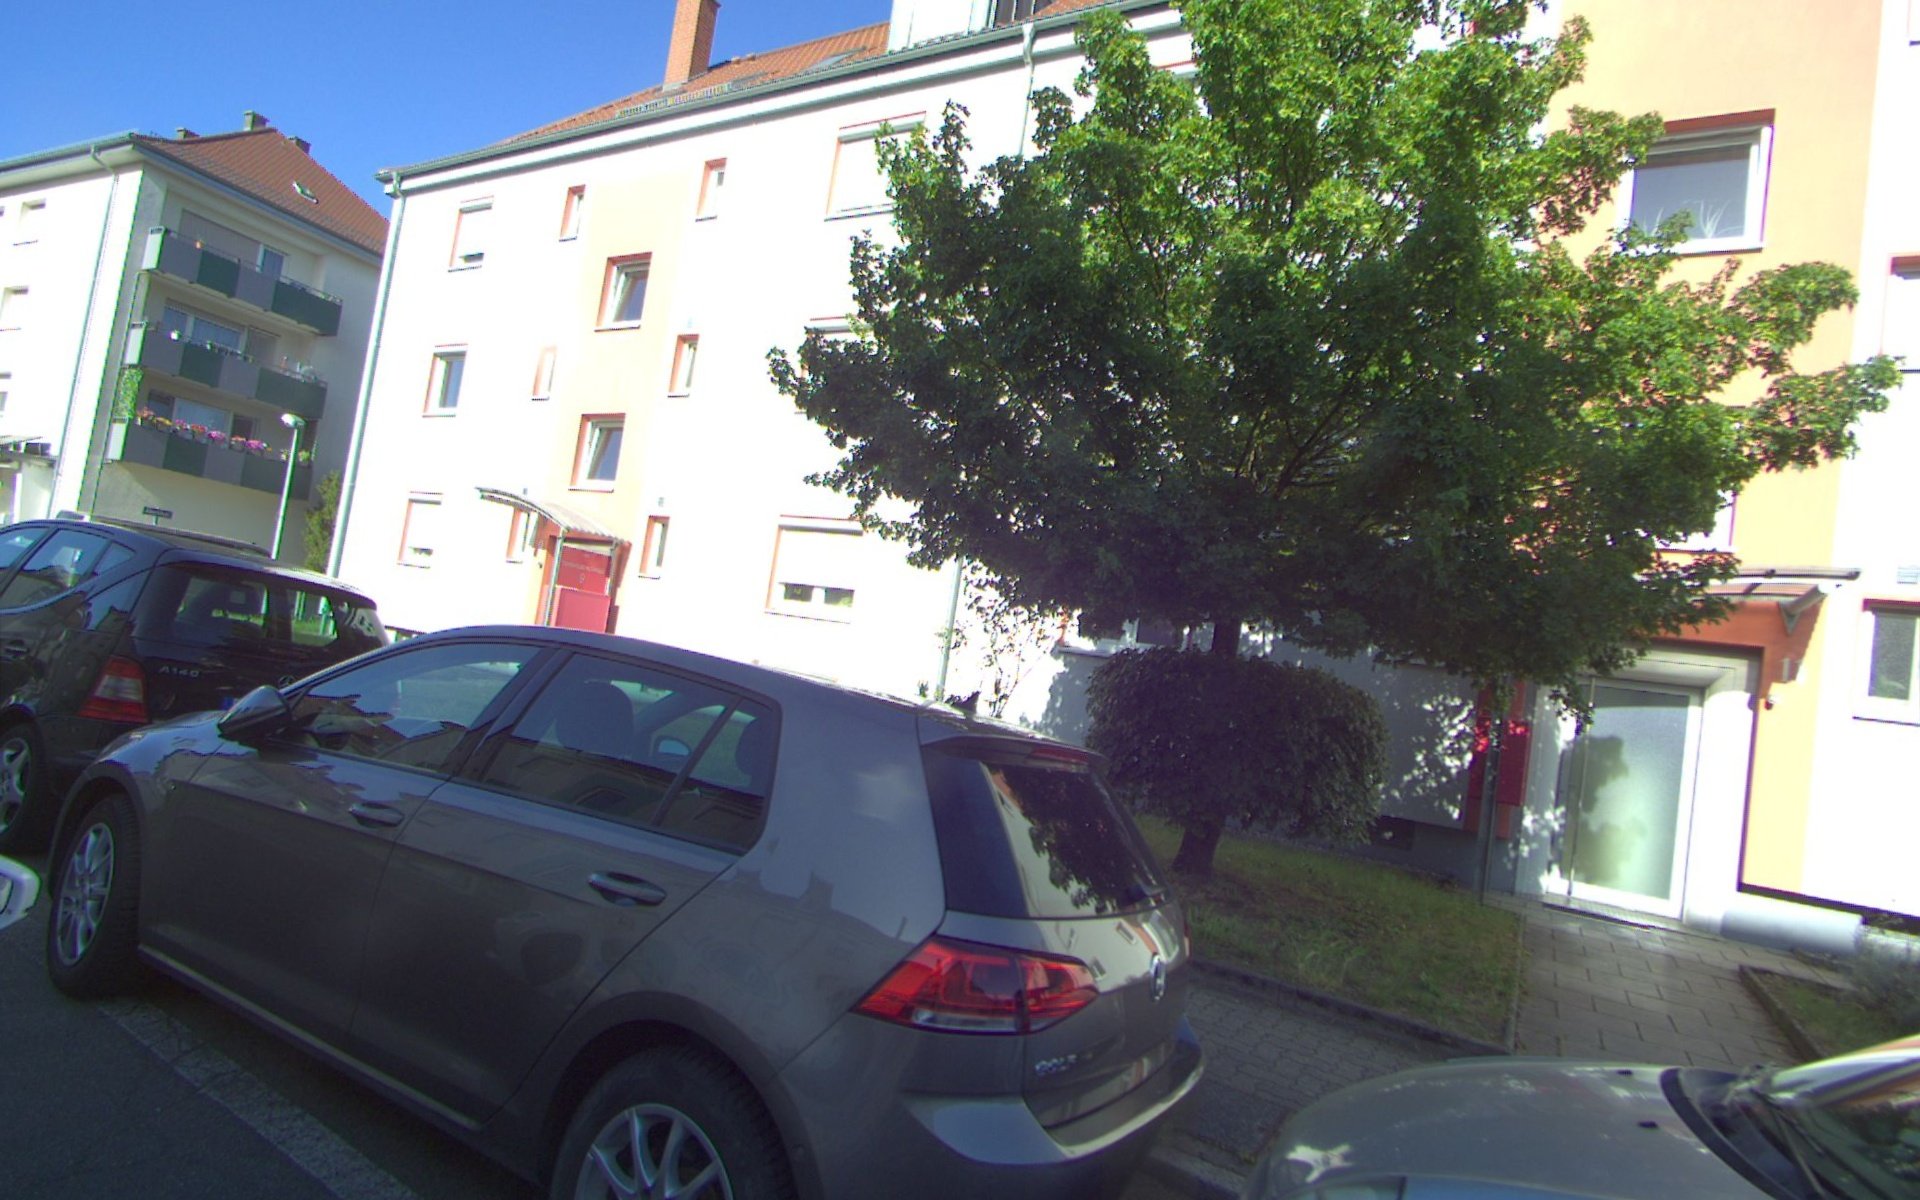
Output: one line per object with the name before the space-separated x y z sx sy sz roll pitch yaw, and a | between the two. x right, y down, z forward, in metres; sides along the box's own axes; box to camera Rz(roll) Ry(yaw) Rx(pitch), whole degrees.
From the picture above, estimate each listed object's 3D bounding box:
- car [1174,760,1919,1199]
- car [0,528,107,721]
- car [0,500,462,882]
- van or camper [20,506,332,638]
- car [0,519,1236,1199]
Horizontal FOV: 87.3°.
car | 2.217 1.247 1.465 3.431 1.408 1.634 6 -5 32
car | -9.089 -0.039 8.439 3.723 1.431 1.580 6 -6 30
car | -4.907 0.385 5.804 3.548 1.564 1.627 7 -7 27
van or camper | -17.929 -0.542 23.337 1.967 2.034 5.141 8 -4 31
car | -1.311 0.814 3.317 3.883 1.463 1.638 8 -7 28
